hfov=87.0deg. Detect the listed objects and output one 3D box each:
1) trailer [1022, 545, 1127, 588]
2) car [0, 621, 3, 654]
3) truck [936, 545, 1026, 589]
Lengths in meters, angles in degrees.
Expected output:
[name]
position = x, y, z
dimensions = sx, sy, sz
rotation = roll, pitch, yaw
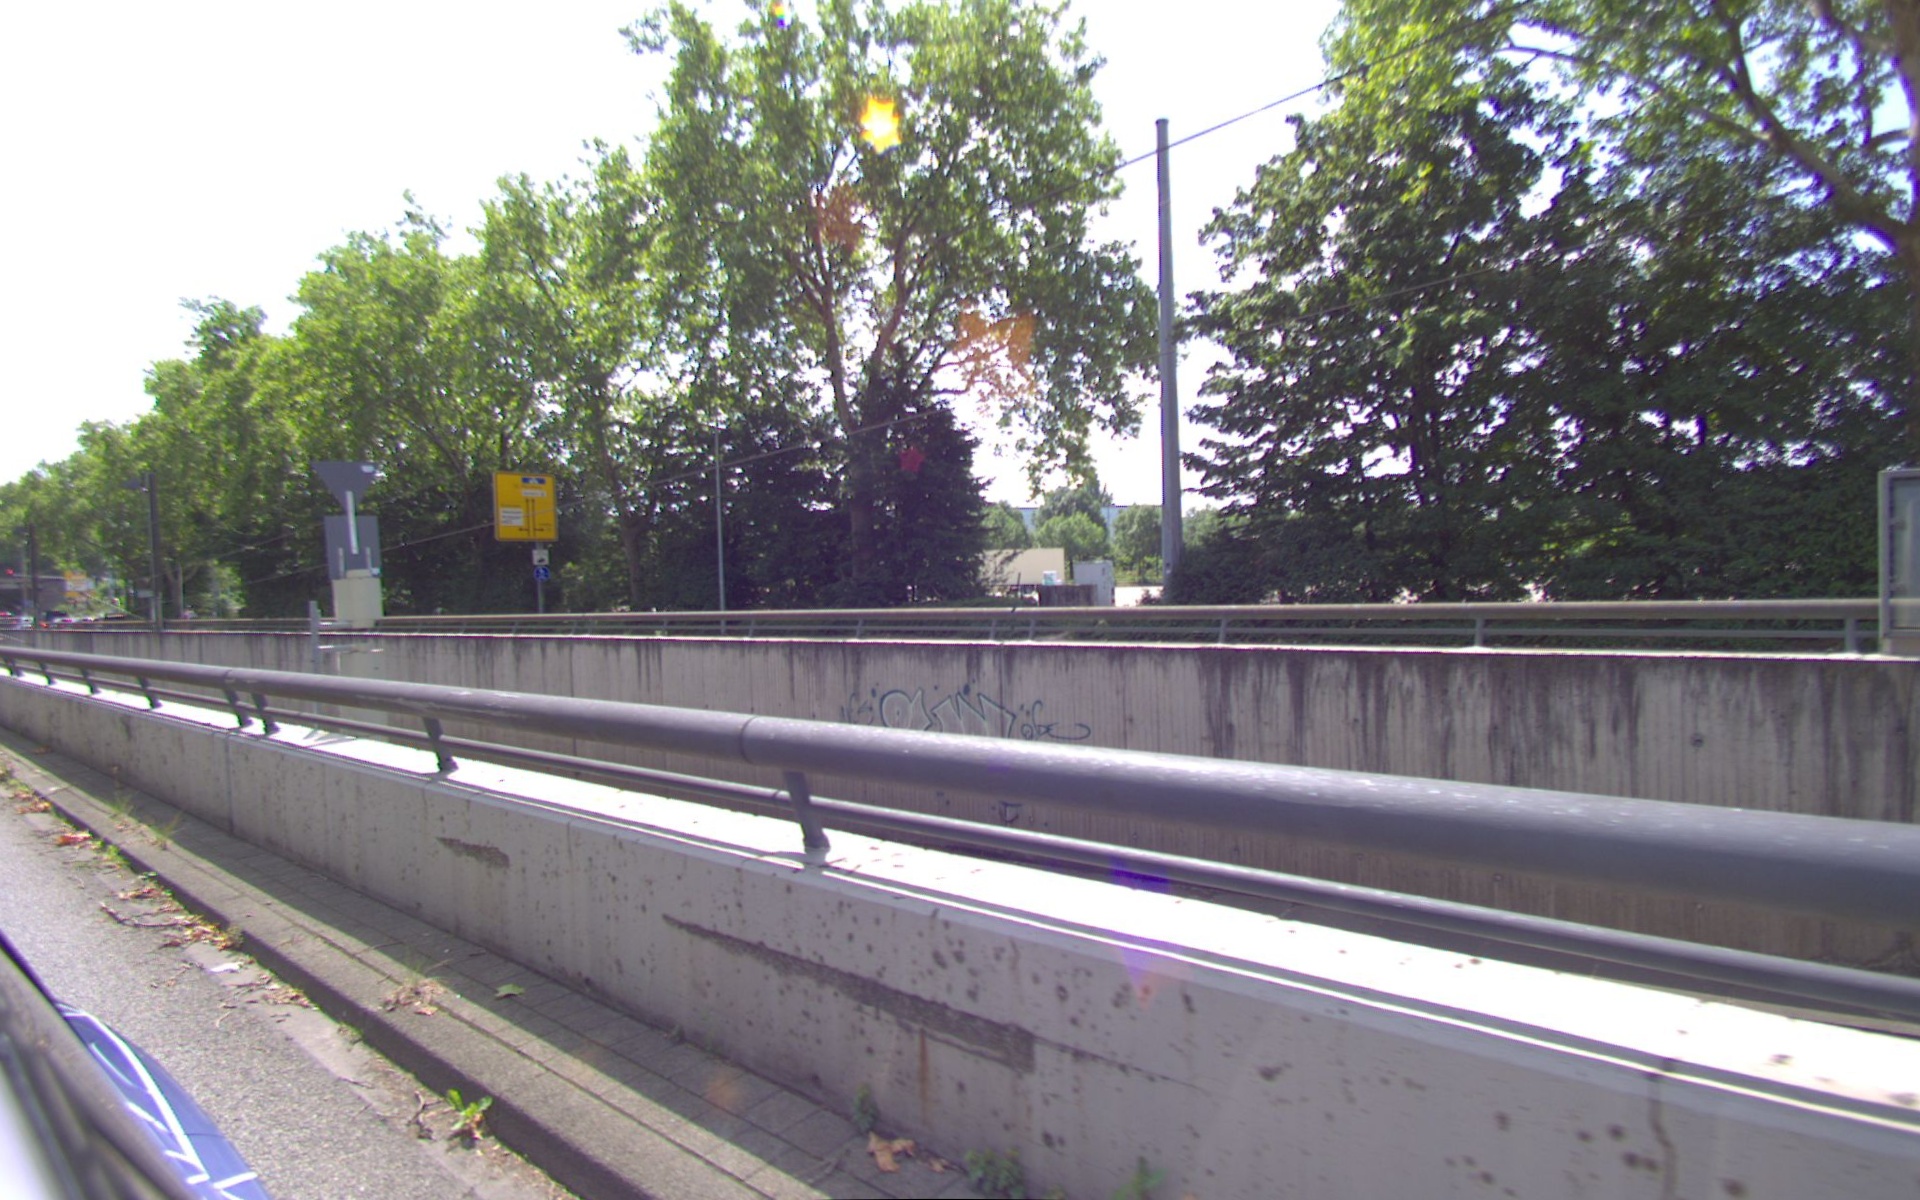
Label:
[trailer]
position = 9.973, -2.893, 88.594
dimensions = 8.763, 3.524, 2.869
rotation = -1, 0, -3
[car]
position = -56.994, 2.188, 58.754
dimensions = 4.093, 1.895, 1.691
rotation = -1, 0, 41
[truck]
position = 1.765, -2.831, 88.209
dimensions = 7.610, 3.689, 3.062
rotation = -1, 0, -3
